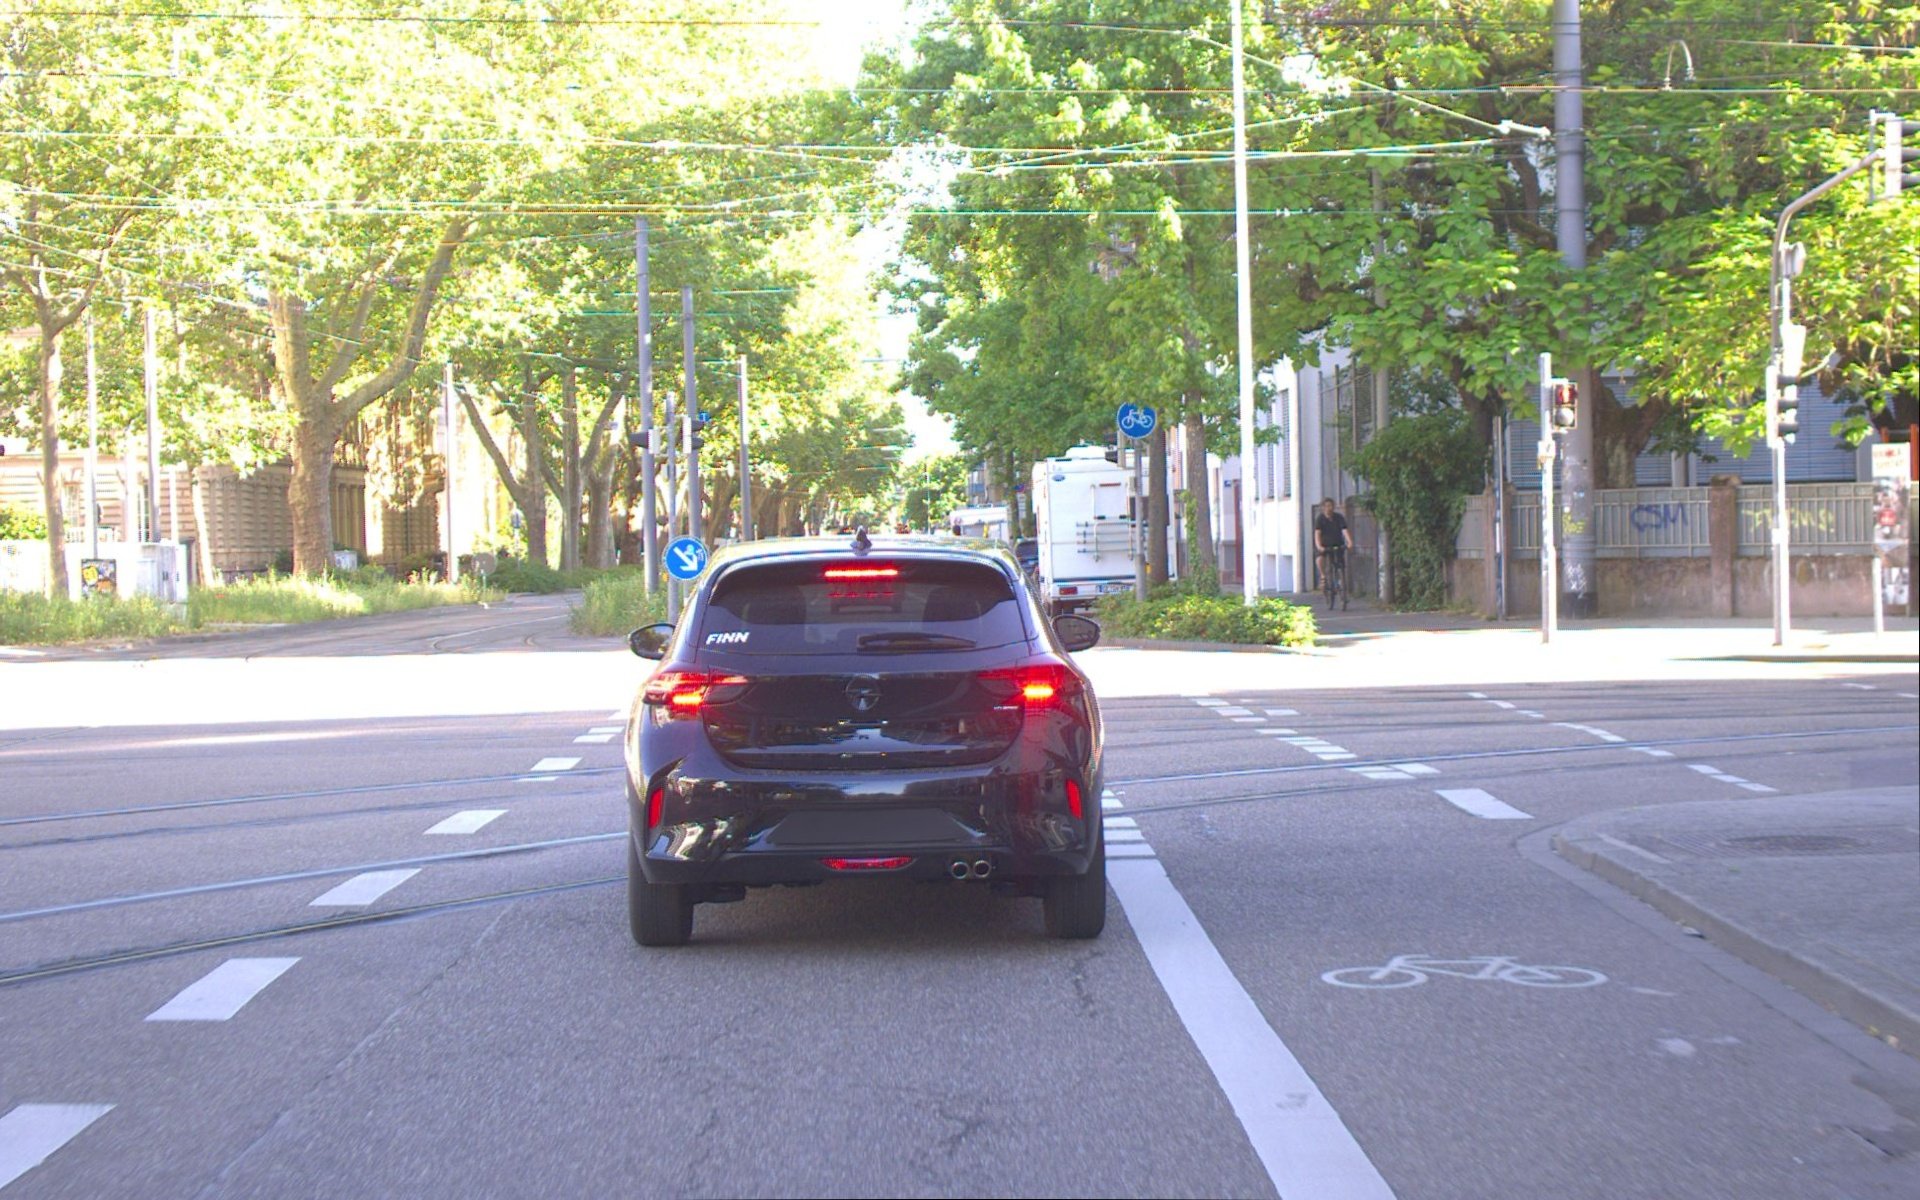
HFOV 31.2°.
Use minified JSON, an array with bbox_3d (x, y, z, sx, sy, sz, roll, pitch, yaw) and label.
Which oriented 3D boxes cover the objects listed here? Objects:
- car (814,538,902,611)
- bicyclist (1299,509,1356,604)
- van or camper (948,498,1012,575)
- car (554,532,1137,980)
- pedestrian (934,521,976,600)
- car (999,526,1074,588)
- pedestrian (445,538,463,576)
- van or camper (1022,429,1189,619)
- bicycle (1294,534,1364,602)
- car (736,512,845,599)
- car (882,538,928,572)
[{"bbox_3d":[-2.279,-0.590,77.415,1.790,1.505,3.874,-3,1,0],"label":"car"},{"bbox_3d":[5.907,-0.697,55.290,0.748,1.504,0.702,-1,1,-8],"label":"bicyclist"},{"bbox_3d":[0.814,-2.532,136.438,2.486,2.983,5.434,1,1,1],"label":"van or camper"},{"bbox_3d":[-0.353,0.476,13.484,1.905,1.420,4.215,-1,1,1],"label":"car"},{"bbox_3d":[-0.126,-1.018,88.717,1.036,2.017,1.212,-1,1,-1],"label":"pedestrian"},{"bbox_3d":[1.980,-1.145,89.832,1.790,1.505,3.874,-3,1,0],"label":"car"},{"bbox_3d":[-21.670,-1.849,147.248,0.658,1.616,0.615,1,1,-1],"label":"pedestrian"},{"bbox_3d":[2.571,-1.387,62.947,2.375,3.114,7.551,-4,1,-1],"label":"van or camper"},{"bbox_3d":[5.925,-0.525,55.305,0.639,1.066,1.951,-2,1,-8],"label":"bicycle"},{"bbox_3d":[-3.290,-0.897,67.544,1.993,1.622,4.471,1,1,-1],"label":"car"},{"bbox_3d":[-2.435,-2.028,153.099,1.905,1.420,4.215,-1,1,1],"label":"car"}]
